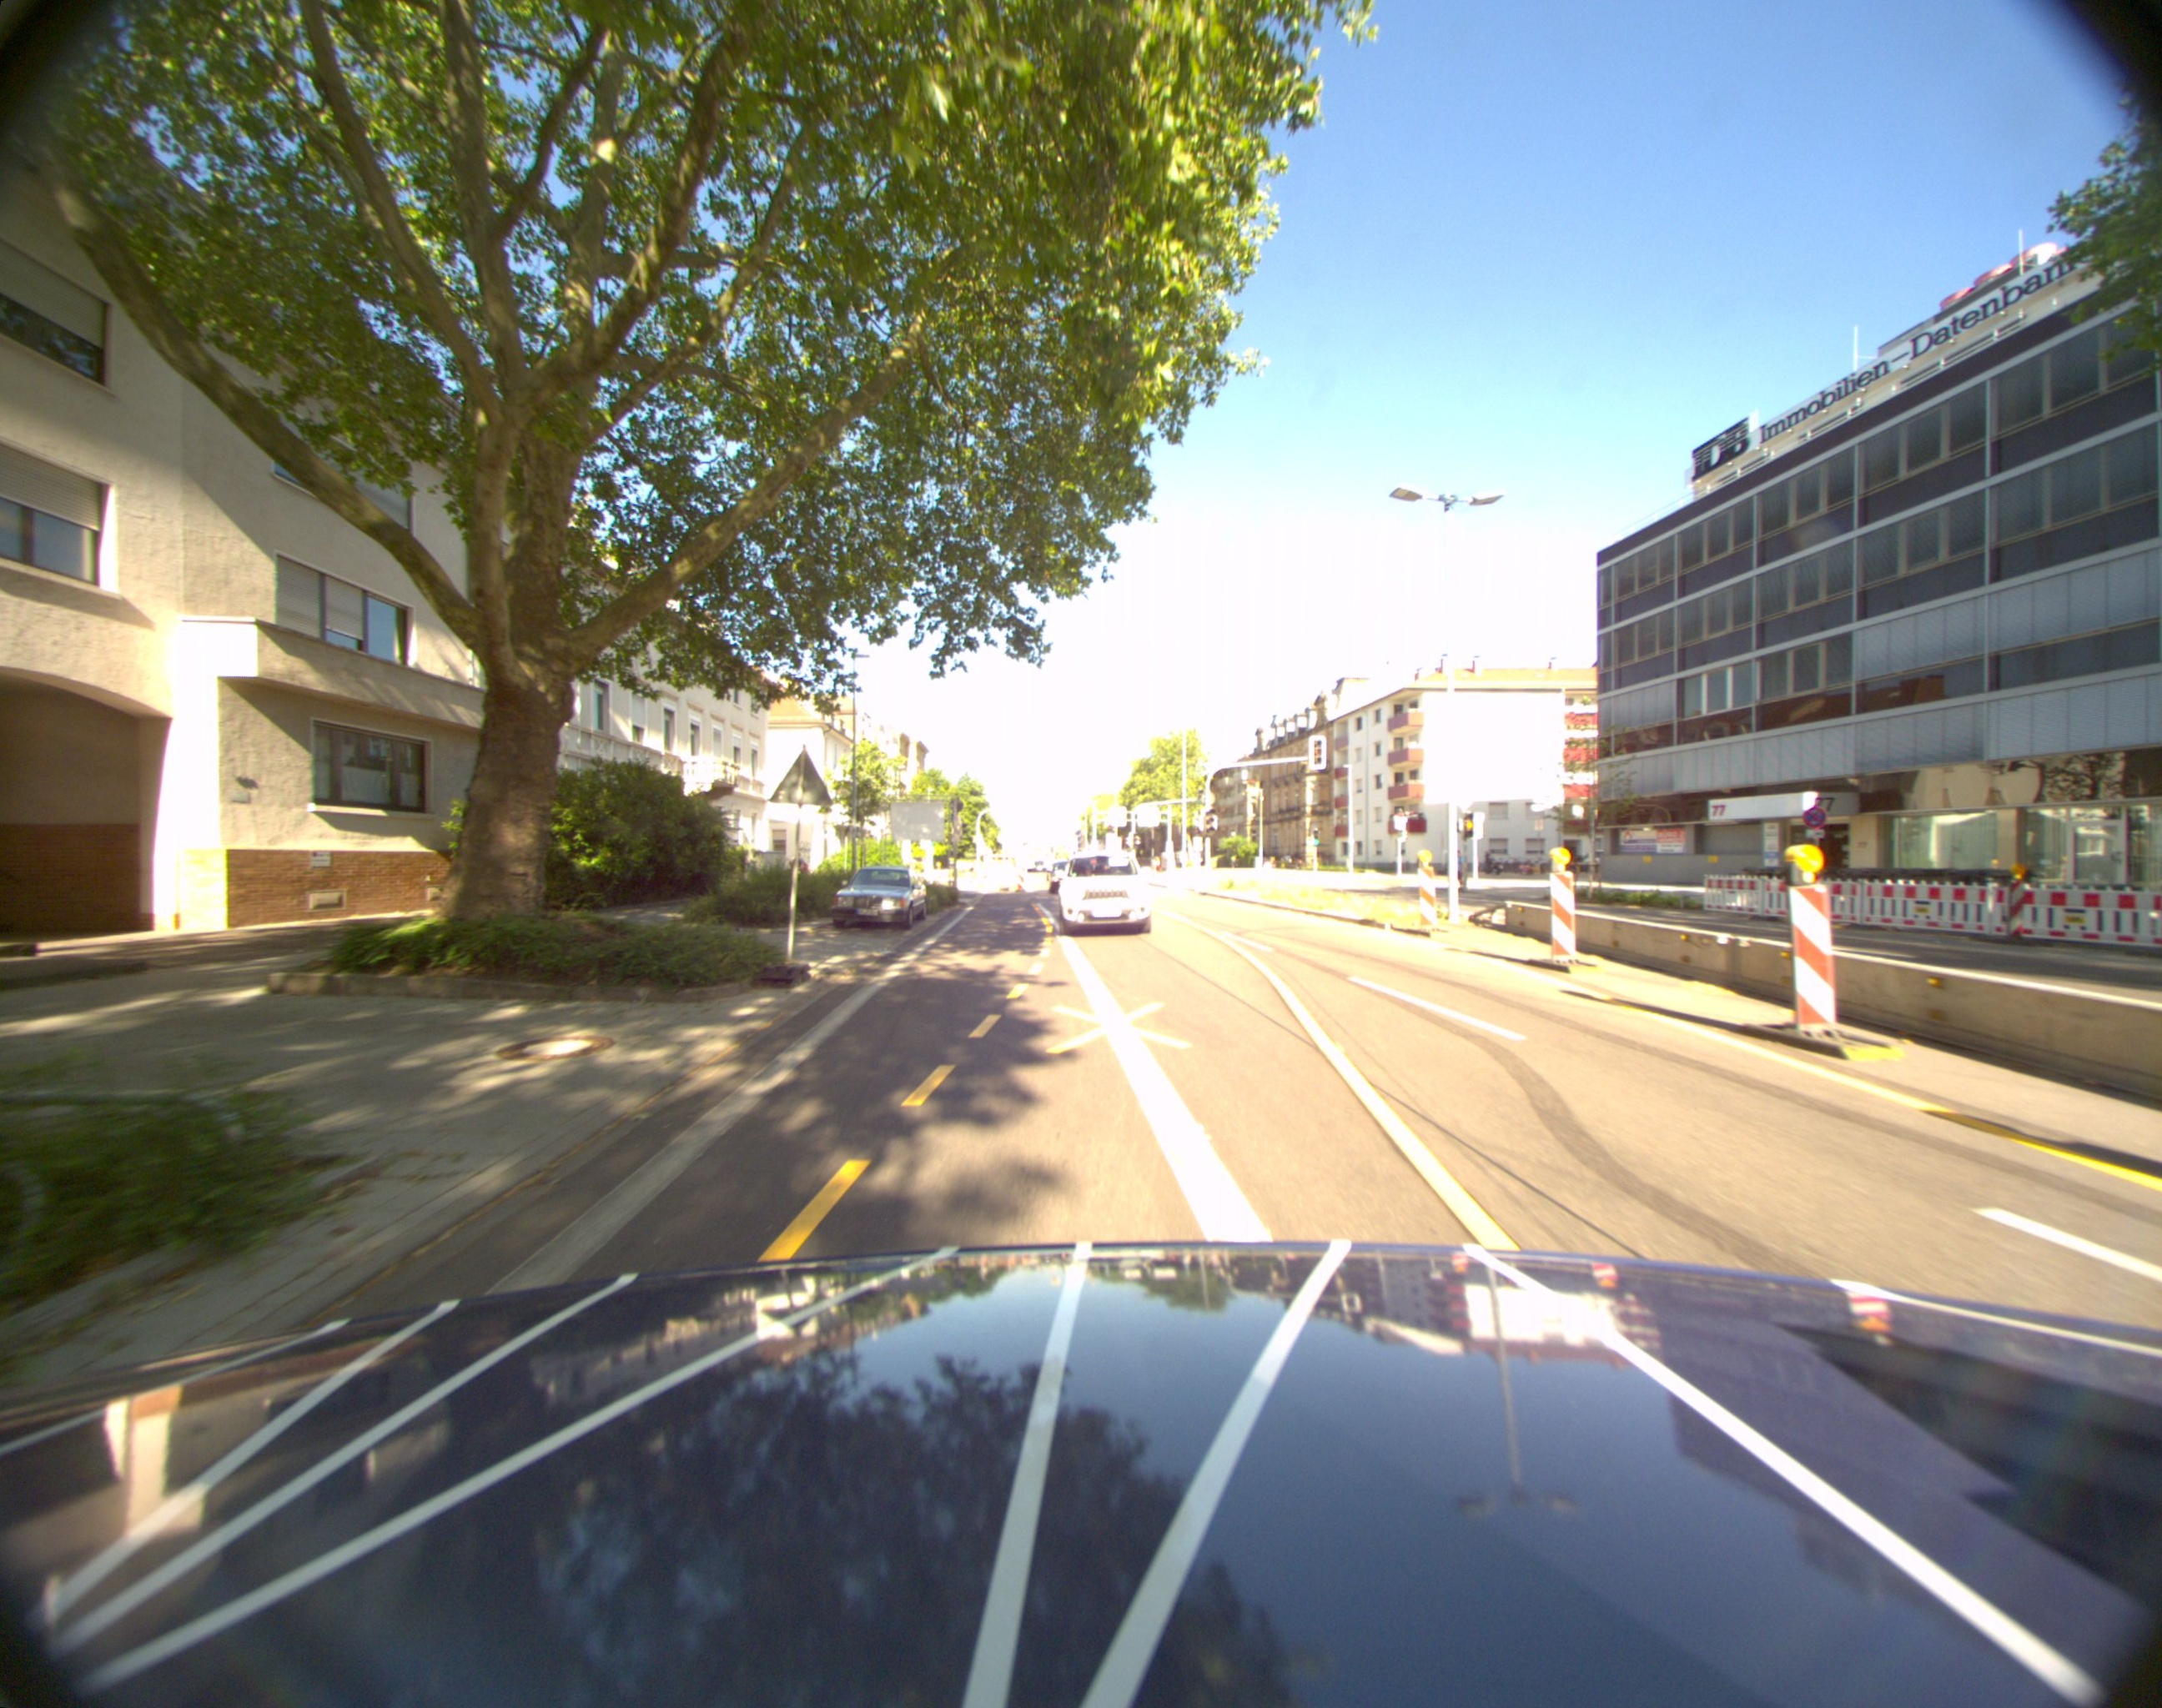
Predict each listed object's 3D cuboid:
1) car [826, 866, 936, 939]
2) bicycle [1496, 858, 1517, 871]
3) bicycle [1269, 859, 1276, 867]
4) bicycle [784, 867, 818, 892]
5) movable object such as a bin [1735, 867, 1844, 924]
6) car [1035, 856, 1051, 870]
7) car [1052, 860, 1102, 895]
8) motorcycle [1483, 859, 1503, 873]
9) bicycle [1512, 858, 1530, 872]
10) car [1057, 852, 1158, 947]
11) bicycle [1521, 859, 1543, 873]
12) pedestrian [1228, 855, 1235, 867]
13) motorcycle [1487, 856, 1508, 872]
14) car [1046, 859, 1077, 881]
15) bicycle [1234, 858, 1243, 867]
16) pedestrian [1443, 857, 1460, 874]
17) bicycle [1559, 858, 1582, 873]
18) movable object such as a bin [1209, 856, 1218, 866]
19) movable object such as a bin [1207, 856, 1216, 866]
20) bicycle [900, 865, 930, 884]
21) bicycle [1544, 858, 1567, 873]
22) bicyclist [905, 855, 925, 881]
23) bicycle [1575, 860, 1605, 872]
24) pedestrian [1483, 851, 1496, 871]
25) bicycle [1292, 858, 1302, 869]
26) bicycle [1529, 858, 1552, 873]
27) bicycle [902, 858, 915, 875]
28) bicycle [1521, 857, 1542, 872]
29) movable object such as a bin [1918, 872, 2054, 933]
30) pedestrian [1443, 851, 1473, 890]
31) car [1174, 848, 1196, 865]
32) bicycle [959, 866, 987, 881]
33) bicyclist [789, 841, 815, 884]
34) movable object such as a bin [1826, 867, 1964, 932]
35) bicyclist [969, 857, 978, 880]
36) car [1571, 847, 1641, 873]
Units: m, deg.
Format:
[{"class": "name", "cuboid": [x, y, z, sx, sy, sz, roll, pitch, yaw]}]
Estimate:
[{"class": "car", "cuboid": [-4.793, 1.086, 18.901, 1.858, 1.471, 4.939, -1, 0, -6]}, {"class": "bicycle", "cuboid": [30.827, 0.753, 55.048, 0.576, 0.963, 1.736, -1, 0, 1]}, {"class": "bicycle", "cuboid": [20.309, 0.946, 80.630, 0.300, 0.766, 1.413, 0, 0, -4]}, {"class": "bicycle", "cuboid": [-11.917, 1.074, 32.383, 0.784, 0.960, 1.822, -1, 0, -2]}, {"class": "movable object such as a bin", "cuboid": [18.629, 1.054, 20.046, 1.117, 1.380, 1.855, -1, 0, -2]}, {"class": "car", "cuboid": [-5.113, 1.248, 101.368, 1.999, 1.760, 3.998, -2, -1, -5]}, {"class": "car", "cuboid": [-0.249, 1.035, 34.980, 1.999, 1.426, 4.871, 0, 0, -4]}, {"class": "motorcycle", "cuboid": [28.493, 0.821, 52.581, 0.504, 0.931, 1.842, -1, 0, 3]}, {"class": "bicycle", "cuboid": [30.174, 0.757, 52.173, 0.507, 0.972, 1.886, -1, 0, 12]}, {"class": "car", "cuboid": [0.429, 0.843, 15.212, 1.744, 1.647, 3.690, -1, -1, -1]}, {"class": "bicycle", "cuboid": [30.767, 0.807, 51.809, 0.478, 0.942, 1.952, -1, 0, 5]}, {"class": "pedestrian", "cuboid": [18.450, 0.855, 92.939, 0.568, 1.369, 1.089, 0, 0, -6]}, {"class": "motorcycle", "cuboid": [29.496, 0.697, 53.821, 0.612, 1.135, 1.784, -1, 0, 5]}, {"class": "car", "cuboid": [-1.476, 1.135, 55.073, 1.999, 1.426, 4.871, 0, 0, -4]}, {"class": "bicycle", "cuboid": [19.213, 1.035, 92.764, 0.468, 0.999, 2.249, -2, -1, -6]}, {"class": "pedestrian", "cuboid": [25.569, 0.772, 52.415, 0.720, 1.146, 0.787, -1, 0, -17]}, {"class": "bicycle", "cuboid": [33.581, 0.781, 52.137, 0.459, 0.942, 1.723, -1, 0, -2]}, {"class": "movable object such as a bin", "cuboid": [17.861, 0.945, 102.429, 0.895, 1.352, 1.474, 1, -1, -3]}, {"class": "movable object such as a bin", "cuboid": [17.821, 0.968, 103.822, 0.895, 1.354, 1.314, 1, -1, -5]}, {"class": "bicycle", "cuboid": [-9.736, 1.217, 44.608, 0.689, 1.091, 1.690, 0, -1, 36]}, {"class": "bicycle", "cuboid": [32.725, 0.774, 52.404, 0.509, 0.997, 1.736, -1, 0, 1]}, {"class": "bicyclist", "cuboid": [-9.728, 0.832, 44.602, 0.724, 1.490, 0.873, 0, -2, 34]}, {"class": "bicycle", "cuboid": [34.659, 0.804, 51.777, 0.415, 0.809, 1.719, -1, 0, -28]}, {"class": "pedestrian", "cuboid": [30.550, 0.534, 56.826, 0.601, 1.488, 0.694, -1, 1, -1]}, {"class": "bicycle", "cuboid": [20.838, 0.907, 73.248, 0.305, 0.952, 1.939, 0, 0, -4]}, {"class": "bicycle", "cuboid": [31.654, 0.780, 52.321, 0.490, 1.062, 1.736, -1, 0, -2]}, {"class": "bicycle", "cuboid": [-14.437, 1.037, 63.675, 0.710, 1.435, 2.490, -2, -1, -5]}, {"class": "bicycle", "cuboid": [32.702, 0.779, 55.176, 0.576, 1.052, 1.690, -1, 0, 1]}, {"class": "movable object such as a bin", "cuboid": [18.985, 0.997, 15.988, 1.398, 1.196, 1.241, -1, 0, -1]}, {"class": "pedestrian", "cuboid": [17.049, 0.745, 34.360, 0.867, 1.700, 1.012, 0, 0, 3]}, {"class": "car", "cuboid": [15.824, 0.441, 115.562, 2.251, 2.431, 5.286, 1, -1, -3]}, {"class": "bicycle", "cuboid": [-7.925, 1.408, 55.747, 1.968, 1.019, 0.604, -2, 0, -5]}, {"class": "bicyclist", "cuboid": [-11.884, 0.366, 32.375, 0.726, 1.810, 1.070, -1, 0, -3]}, {"class": "movable object such as a bin", "cuboid": [18.896, 1.018, 17.724, 1.218, 1.380, 1.855, -1, 0, -2]}, {"class": "bicyclist", "cuboid": [-7.870, 1.058, 55.695, 0.605, 1.698, 0.858, 0, 0, -4]}, {"class": "car", "cuboid": [37.111, 0.399, 53.836, 1.998, 1.721, 4.480, -1, 0, 2]}]
